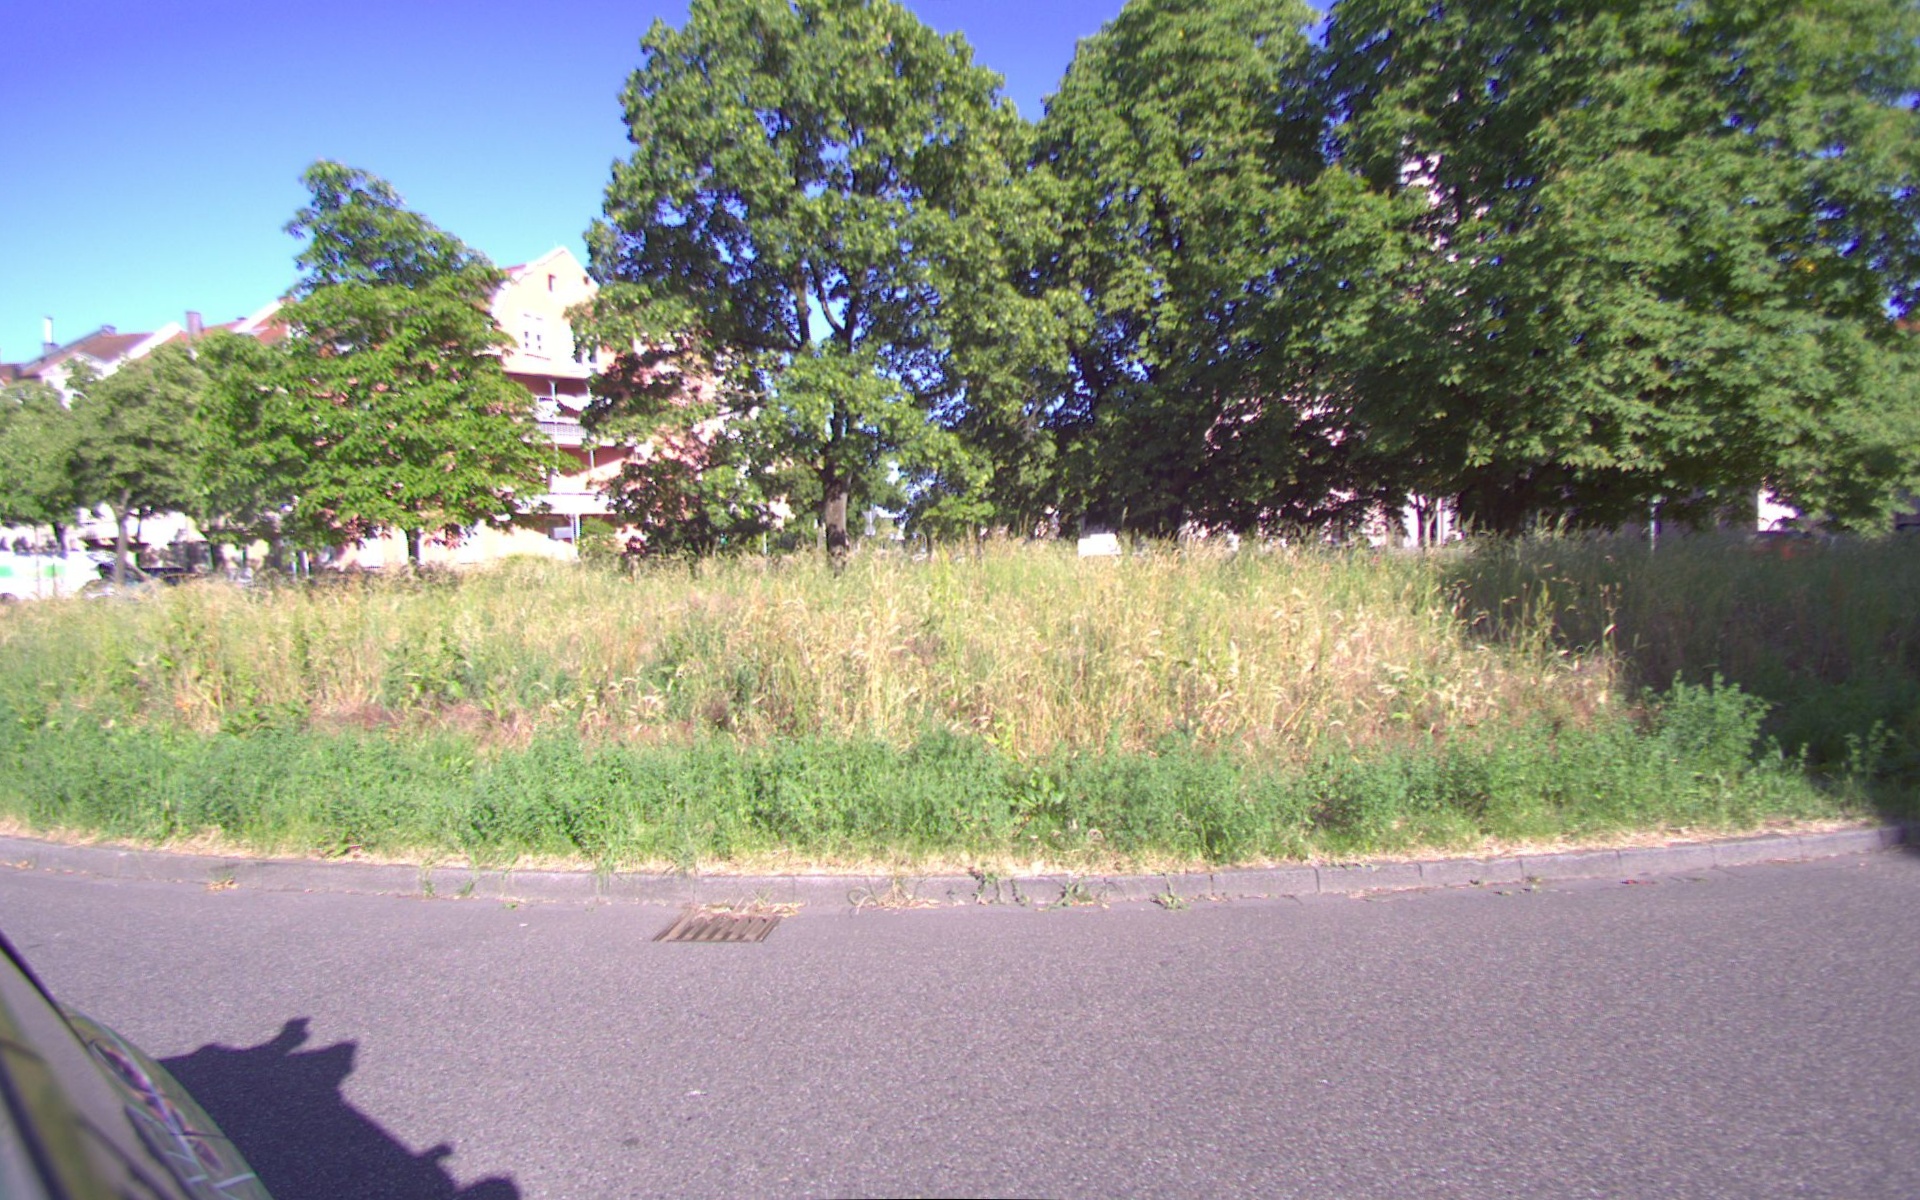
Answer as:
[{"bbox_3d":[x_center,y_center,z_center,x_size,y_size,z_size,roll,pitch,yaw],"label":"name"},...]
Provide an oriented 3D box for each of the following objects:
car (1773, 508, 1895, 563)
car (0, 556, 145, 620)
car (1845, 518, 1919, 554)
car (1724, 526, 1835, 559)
[{"bbox_3d":[35.433,-2.582,41.180,1.978,2.028,3.987,-1,2,11],"label":"car"},{"bbox_3d":[-36.099,-0.497,40.386,5.103,2.379,2.044,-3,2,-24],"label":"car"},{"bbox_3d":[40.789,-2.776,43.799,1.722,1.491,3.994,-2,2,5],"label":"car"},{"bbox_3d":[32.761,-2.266,40.592,1.750,1.187,3.987,-1,2,11],"label":"car"}]
